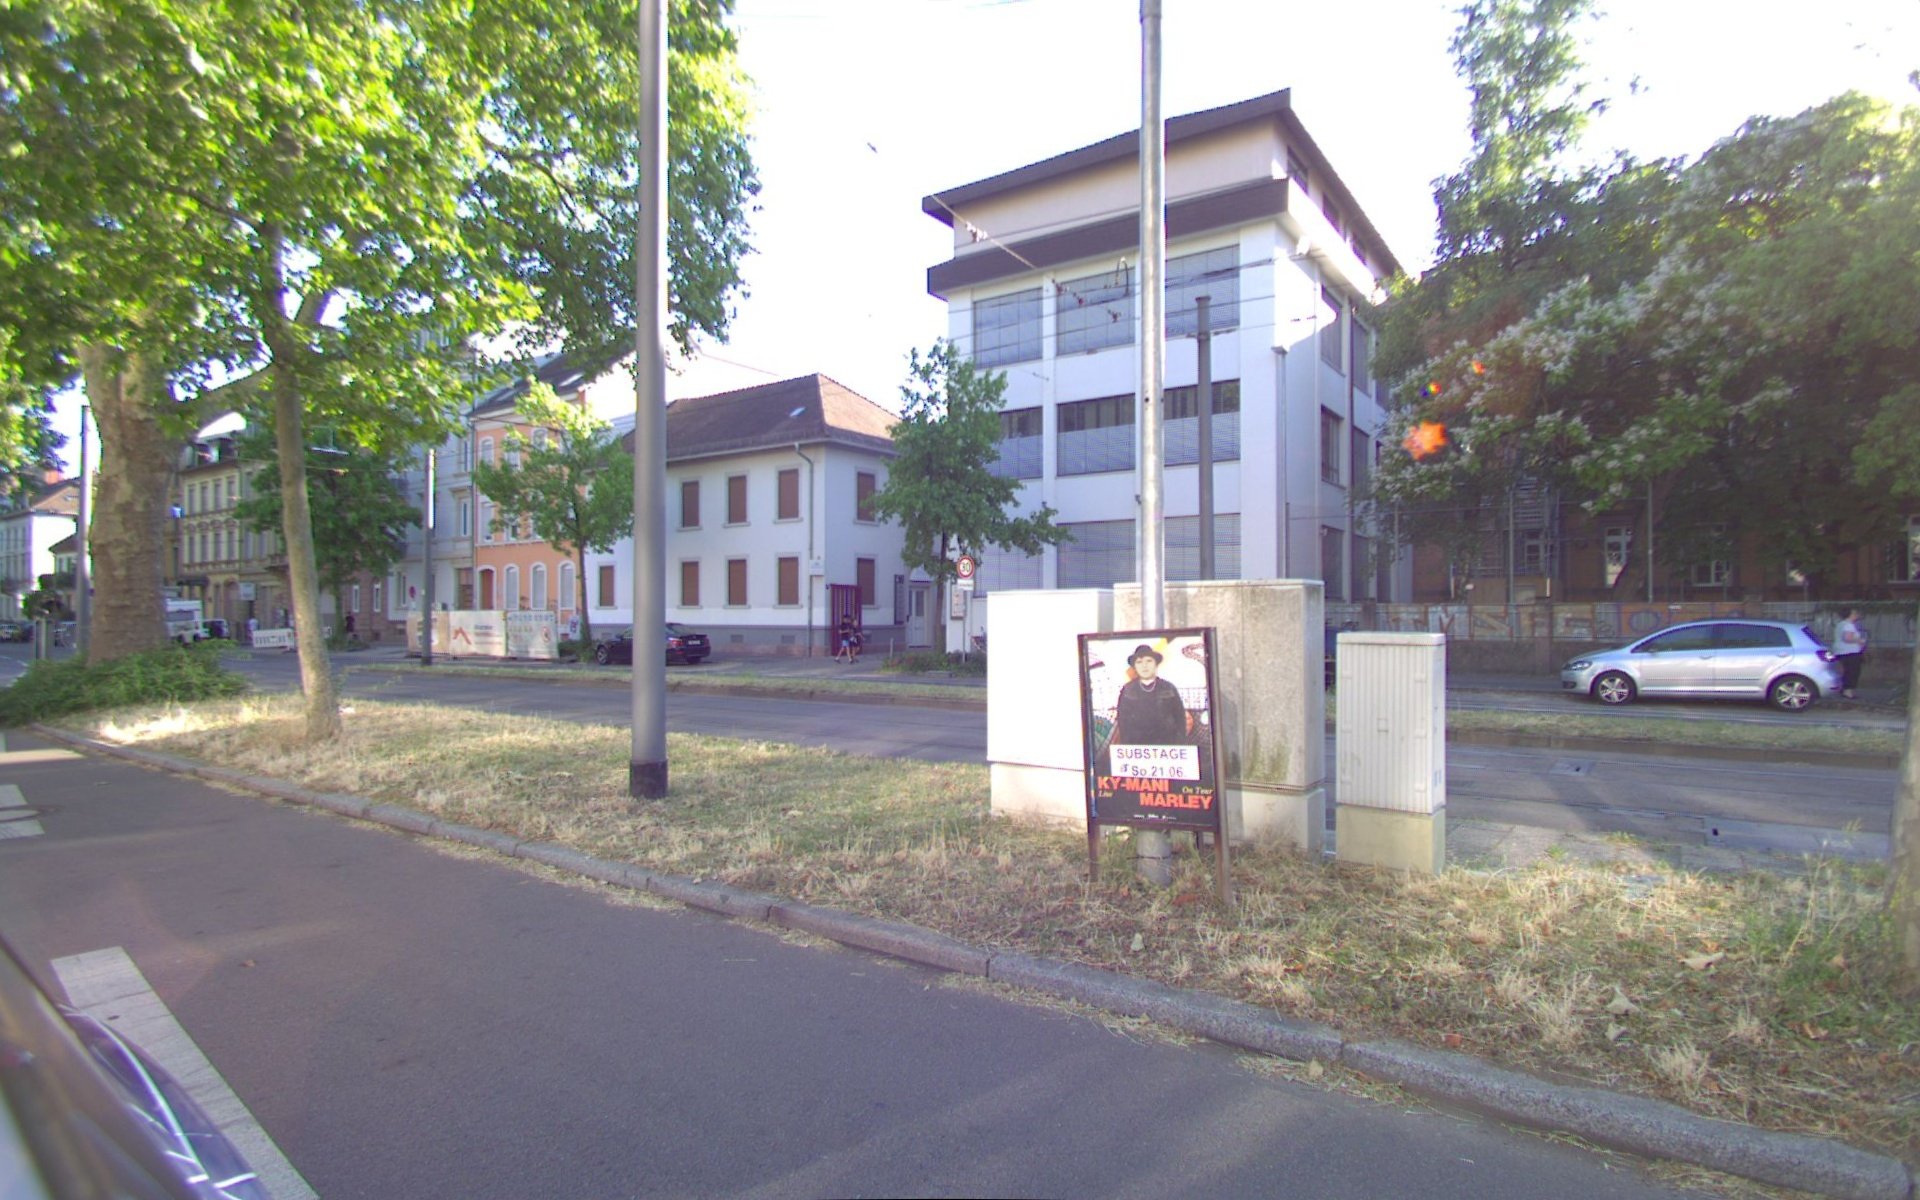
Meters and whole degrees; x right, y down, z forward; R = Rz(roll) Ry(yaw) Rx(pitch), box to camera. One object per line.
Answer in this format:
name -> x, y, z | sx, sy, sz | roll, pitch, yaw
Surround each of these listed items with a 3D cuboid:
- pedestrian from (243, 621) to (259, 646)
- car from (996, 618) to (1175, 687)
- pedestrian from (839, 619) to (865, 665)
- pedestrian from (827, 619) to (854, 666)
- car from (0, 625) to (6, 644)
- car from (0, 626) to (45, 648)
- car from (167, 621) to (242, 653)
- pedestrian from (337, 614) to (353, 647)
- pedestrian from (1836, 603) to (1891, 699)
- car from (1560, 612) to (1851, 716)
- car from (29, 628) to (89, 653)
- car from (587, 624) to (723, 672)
pedestrian -> -44.196, 2.080, 63.092 | 0.613, 1.540, 0.635 | -1, -2, 29
car -> 3.157, 1.270, 25.554 | 3.985, 1.501, 2.065 | -1, 1, 33
pedestrian -> -3.670, 1.416, 34.289 | 0.710, 1.540, 0.531 | -1, -2, 35
pedestrian -> -3.949, 1.385, 33.370 | 0.708, 1.540, 0.532 | -1, -2, 29
car -> -81.338, 2.904, 84.114 | 4.027, 1.551, 2.065 | -1, 1, 33
car -> -73.872, 2.860, 79.205 | 5.090, 1.551, 2.065 | -1, 1, 33
car -> -44.120, 2.116, 59.067 | 4.520, 1.686, 2.065 | -1, 1, 33
pedestrian -> -34.096, 1.710, 56.108 | 0.704, 1.823, 0.555 | -1, -2, 37
pedestrian -> 16.292, 0.910, 18.260 | 0.630, 1.677, 0.563 | -1, 1, 34
car -> 13.429, 1.089, 18.572 | 4.086, 1.631, 2.065 | -1, 1, 33
car -> -63.461, 2.828, 71.279 | 4.503, 1.551, 2.065 | -1, 1, 33
car -> -10.577, 1.614, 35.036 | 4.566, 1.481, 2.065 | -1, 1, 33
